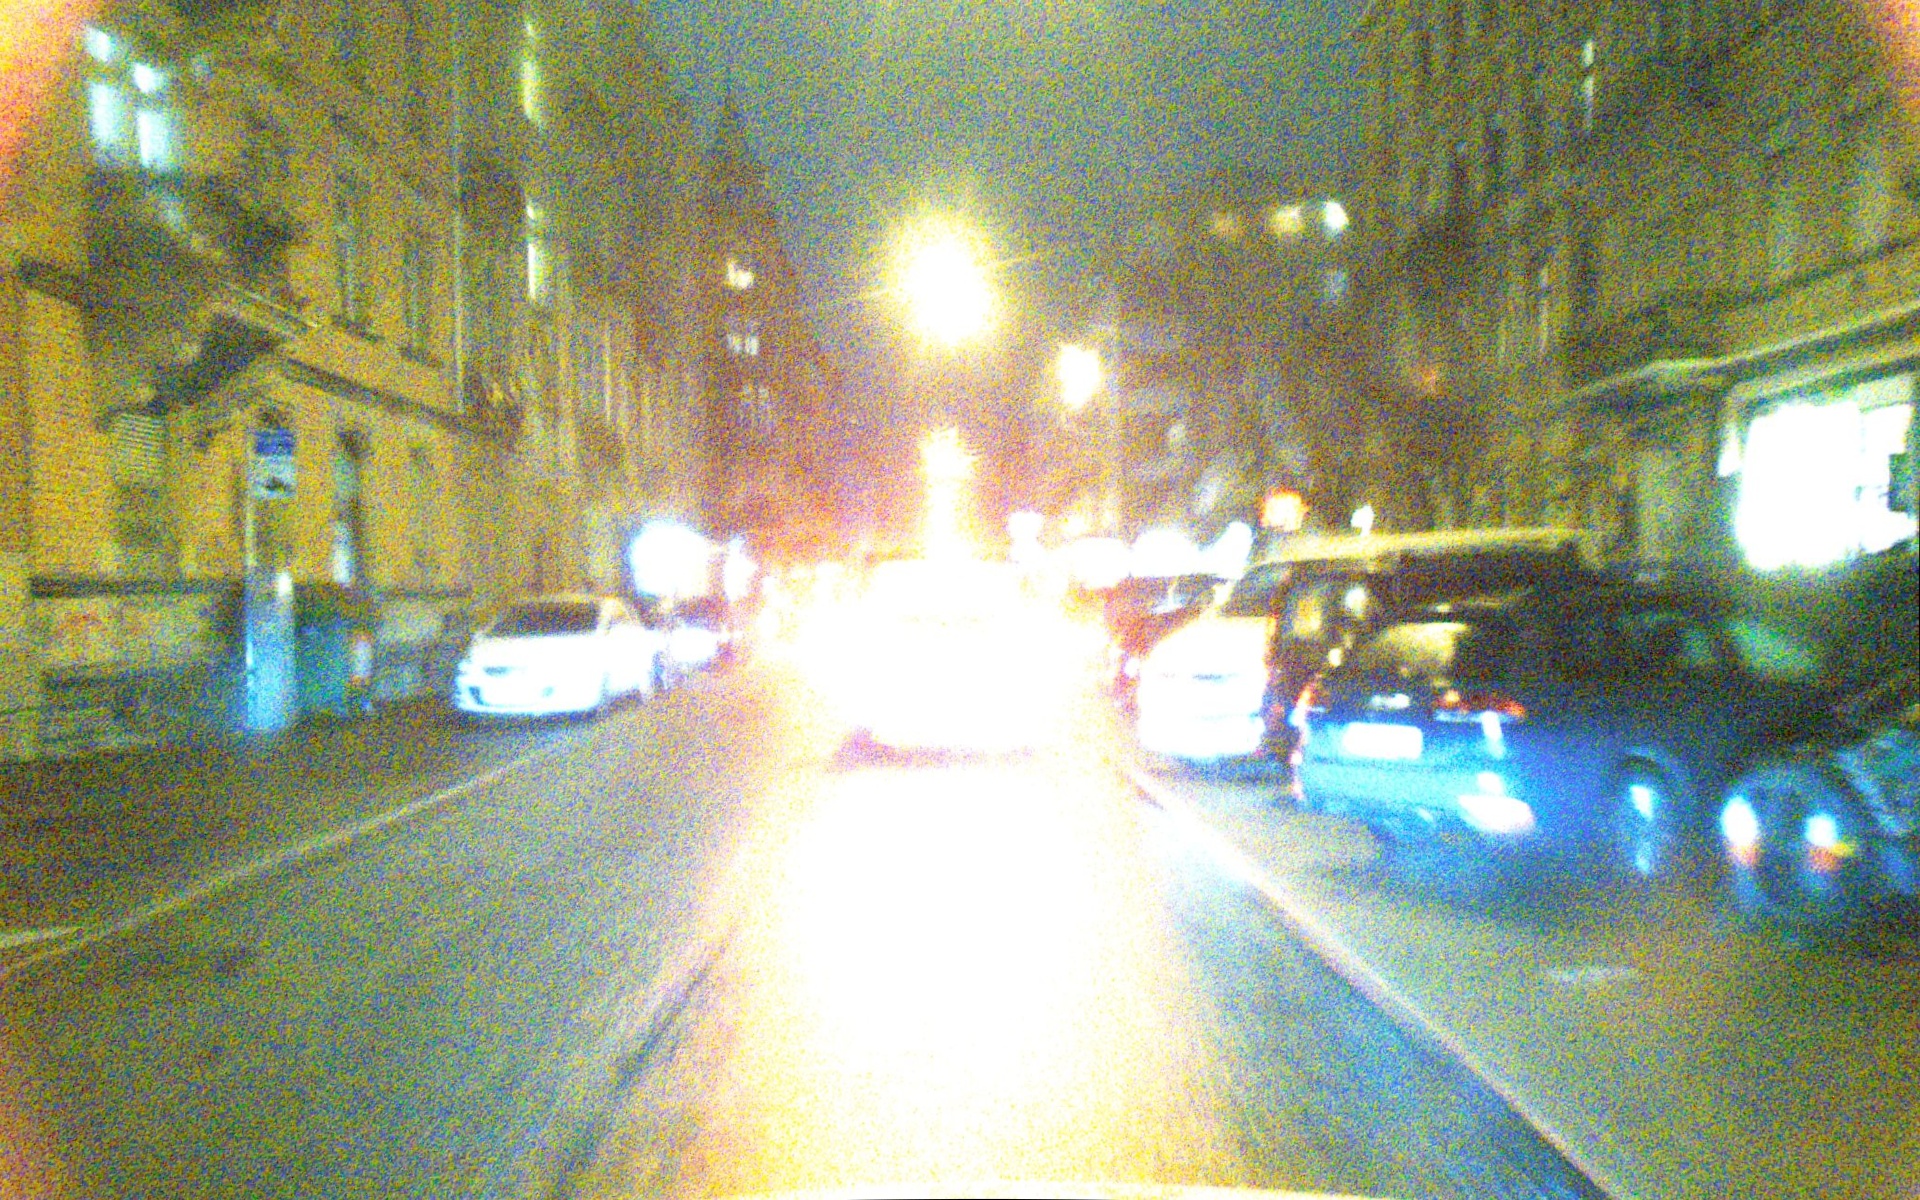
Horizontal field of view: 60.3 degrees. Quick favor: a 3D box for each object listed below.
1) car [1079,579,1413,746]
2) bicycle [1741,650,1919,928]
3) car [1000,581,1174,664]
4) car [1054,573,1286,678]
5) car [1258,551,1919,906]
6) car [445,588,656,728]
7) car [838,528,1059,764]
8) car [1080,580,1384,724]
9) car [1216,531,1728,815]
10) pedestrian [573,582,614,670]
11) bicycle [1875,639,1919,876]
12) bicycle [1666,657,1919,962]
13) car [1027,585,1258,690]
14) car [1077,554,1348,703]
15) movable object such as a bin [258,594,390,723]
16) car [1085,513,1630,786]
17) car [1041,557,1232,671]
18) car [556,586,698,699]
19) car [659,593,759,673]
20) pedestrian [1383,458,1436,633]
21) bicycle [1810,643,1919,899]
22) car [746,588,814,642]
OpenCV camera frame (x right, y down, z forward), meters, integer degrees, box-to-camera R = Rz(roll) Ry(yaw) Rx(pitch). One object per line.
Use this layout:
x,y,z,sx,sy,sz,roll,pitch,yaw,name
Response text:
3.109,0.618,17.778,3.472,1.520,1.434,-3,0,-33,car
4.178,0.775,6.724,0.513,1.094,1.807,-2,0,-32,bicycle
2.721,0.456,35.121,3.529,1.618,1.584,-2,-1,-38,car
3.818,0.432,29.820,3.958,1.615,1.856,-4,1,-37,car
3.781,0.561,9.234,3.943,1.518,1.718,-3,0,-29,car
-4.765,0.622,19.741,1.554,1.508,3.793,0,0,0,car
-0.131,0.422,16.679,1.953,2.086,3.999,0,-1,-1,car
3.378,0.591,20.332,3.528,1.510,1.704,-3,0,-37,car
3.809,0.448,12.206,3.517,1.741,1.629,-3,0,-30,car
-7.323,0.511,33.072,0.687,1.734,0.539,0,0,-1,pedestrian
5.060,0.733,7.279,0.441,1.094,1.807,-2,0,-32,bicycle
3.716,0.796,6.420,0.513,1.094,1.807,-2,0,-32,bicycle
2.984,0.576,26.802,3.527,1.478,1.651,-3,0,-37,car
3.642,0.368,23.595,3.712,1.872,1.703,-3,0,-38,car
-7.347,0.657,19.169,1.026,1.423,1.158,1,0,1,movable object such as a bin
3.624,0.346,14.804,4.738,2.084,2.044,-1,1,-32,car
3.449,0.249,32.093,3.529,2.025,1.584,-3,0,-38,car
-5.009,0.595,25.328,1.623,1.584,4.073,0,0,-4,car
-5.220,0.649,34.860,1.777,1.584,4.073,0,0,-4,car
9.327,-1.116,34.327,0.873,3.589,0.791,0,0,-1,pedestrian
4.637,0.749,7.018,0.513,1.094,1.807,-2,0,-32,bicycle
-5.850,0.470,54.094,1.845,1.714,3.999,0,0,-1,car
